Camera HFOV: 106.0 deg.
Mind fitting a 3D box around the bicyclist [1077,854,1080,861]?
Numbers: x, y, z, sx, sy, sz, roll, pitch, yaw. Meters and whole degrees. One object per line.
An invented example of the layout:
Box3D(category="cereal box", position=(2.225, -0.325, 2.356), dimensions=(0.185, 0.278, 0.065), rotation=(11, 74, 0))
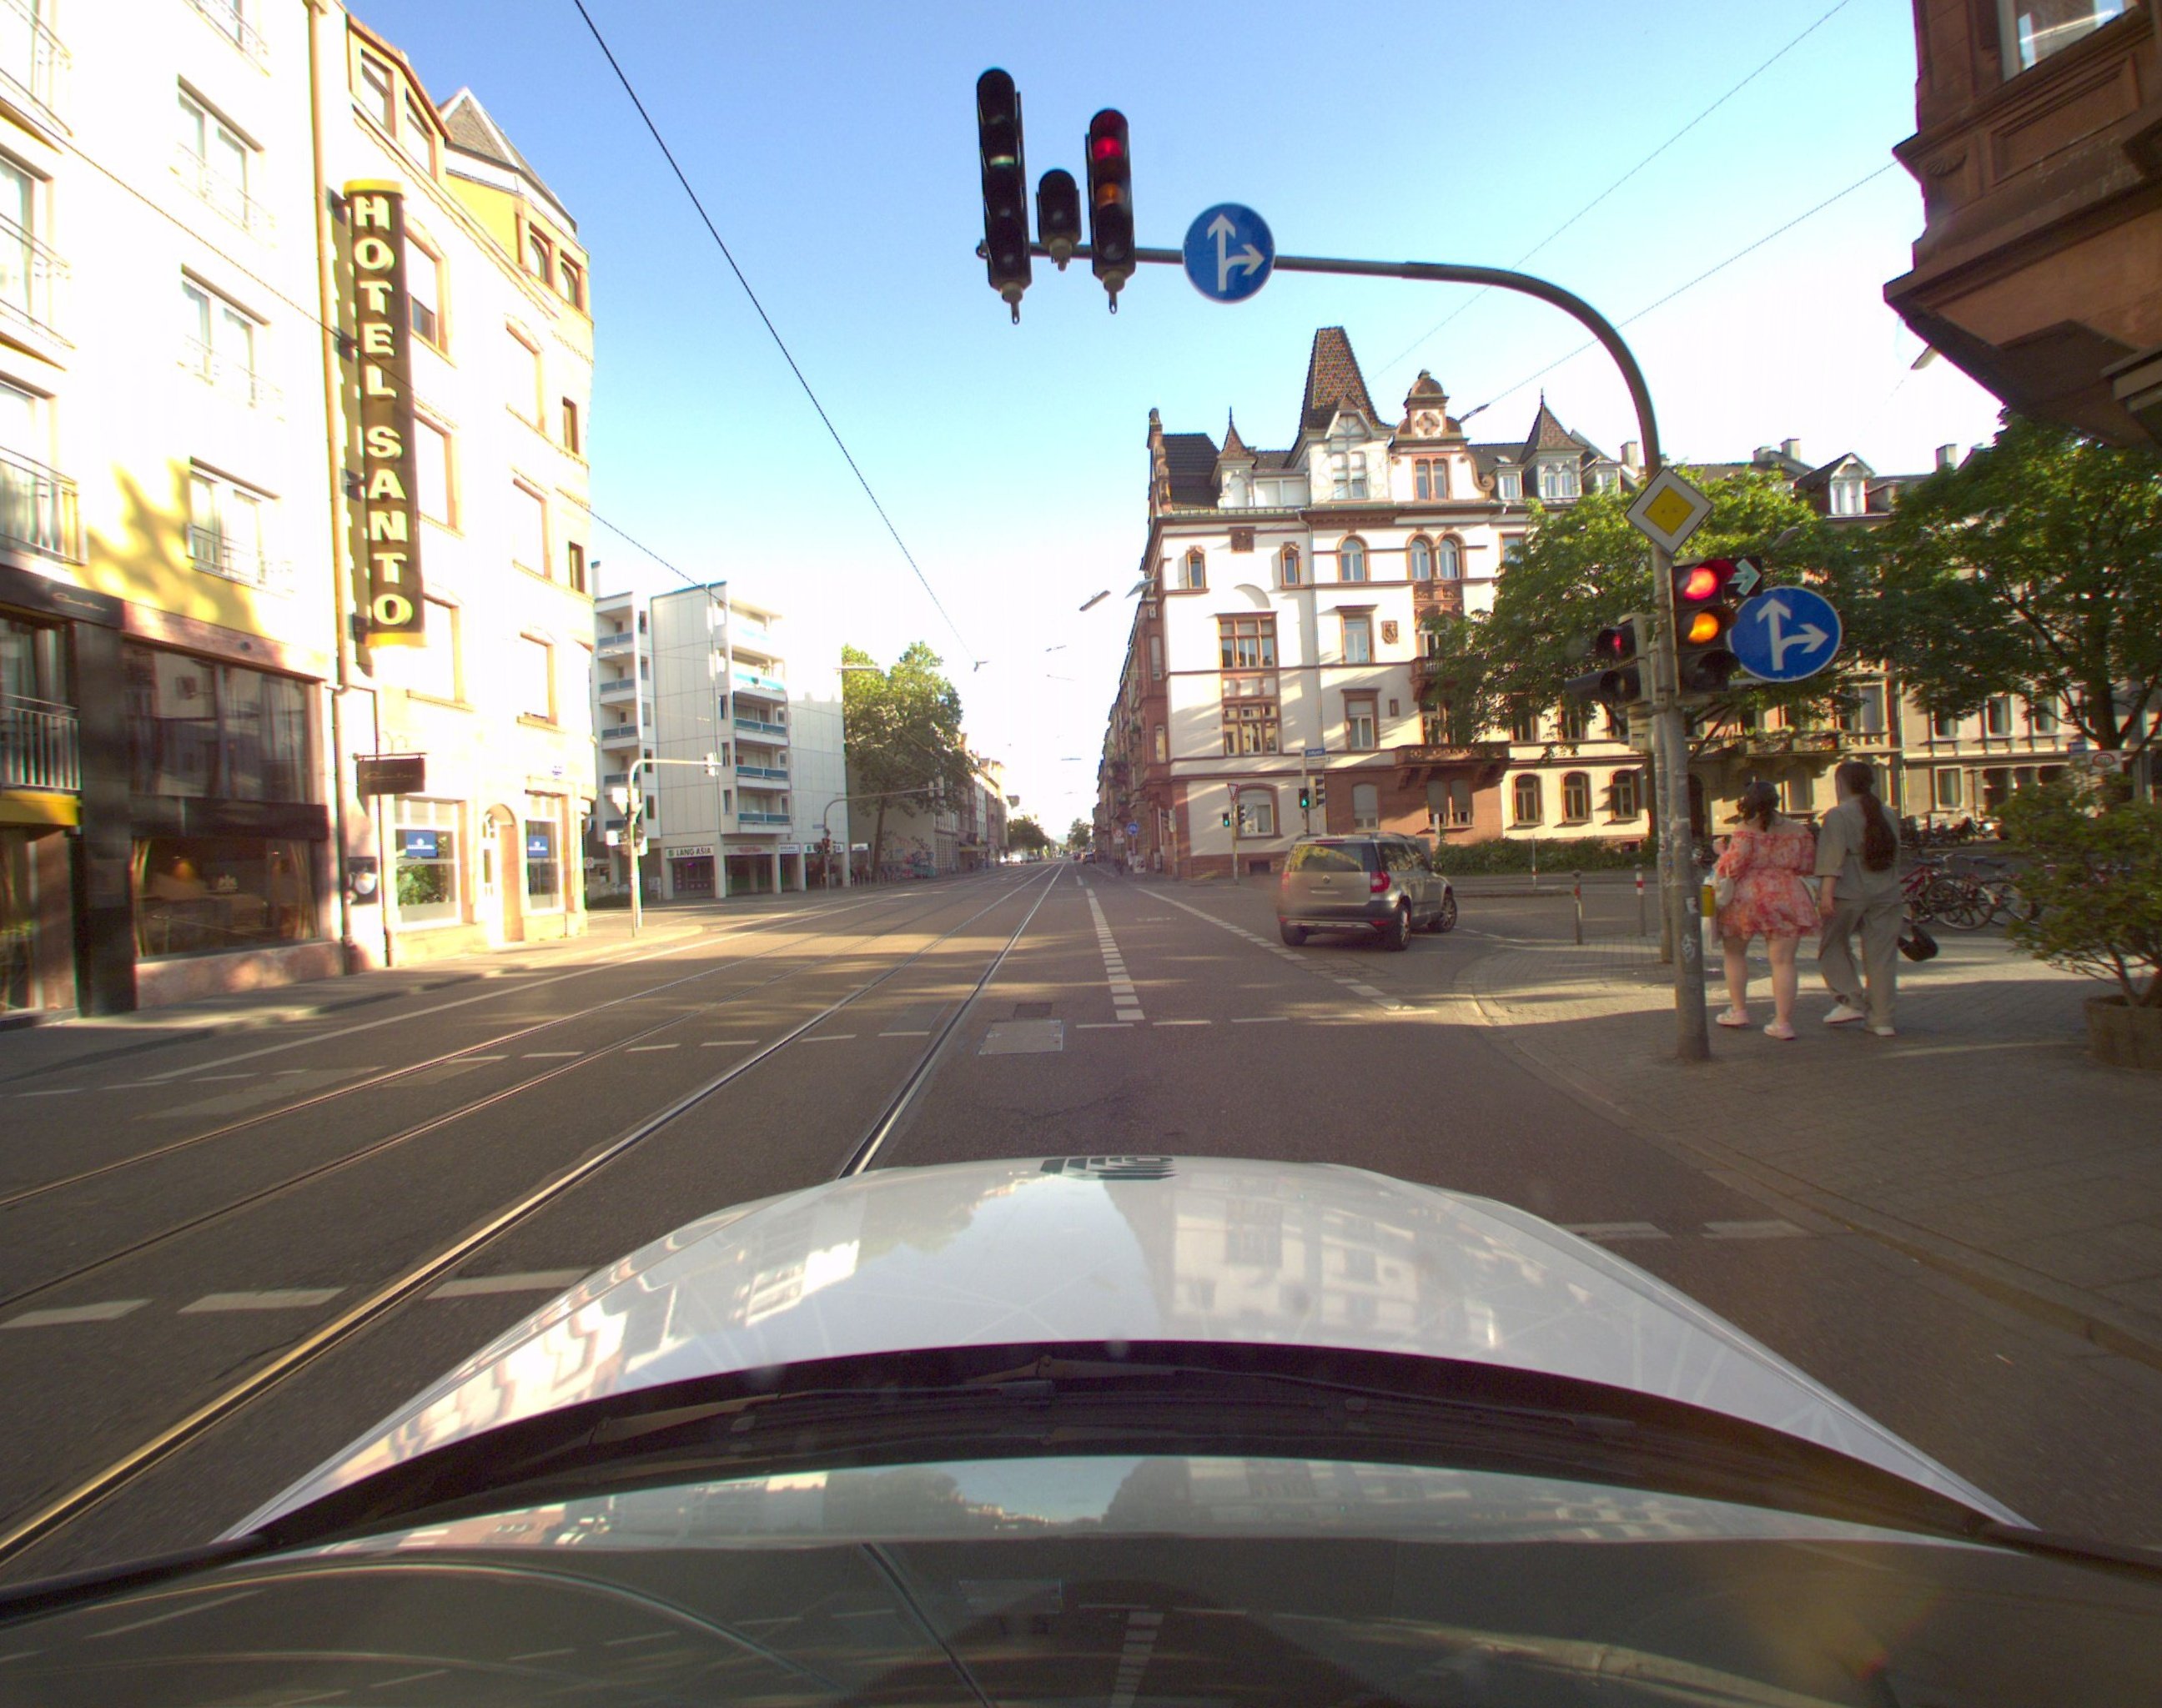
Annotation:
Box3D(category="bicyclist", position=(-0.663, 0.945, 200.205), dimensions=(0.573, 1.678, 0.795), rotation=(-3, 0, 0))

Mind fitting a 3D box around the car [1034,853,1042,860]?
Box3D(category="car", position=(-12.323, 0.651, 233.421), dimensions=(1.988, 2.013, 3.998), rotation=(-3, 0, -1))

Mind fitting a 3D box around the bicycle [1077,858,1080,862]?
Box3D(category="bicycle", position=(-0.629, 1.439, 200.219), dimensions=(0.573, 1.030, 1.895), rotation=(-3, 0, 1))

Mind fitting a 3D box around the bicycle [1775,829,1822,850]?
Box3D(category="bicycle", position=(31.716, -0.626, 36.016), dimensions=(0.490, 0.893, 1.798), rotation=(-3, 0, 2))

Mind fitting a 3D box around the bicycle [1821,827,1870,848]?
Box3D(category="bicycle", position=(33.669, -0.711, 35.889), dimensions=(0.490, 0.893, 1.798), rotation=(-3, 0, 2))

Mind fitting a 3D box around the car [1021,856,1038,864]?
Box3D(category="car", position=(-13.950, 1.642, 220.562), dimensions=(4.008, 2.013, 1.983), rotation=(-3, 0, -26))

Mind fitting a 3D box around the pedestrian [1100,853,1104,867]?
Box3D(category="pedestrian", position=(2.818, 0.786, 109.393), dimensions=(0.543, 1.780, 0.749), rotation=(-3, 0, 0))

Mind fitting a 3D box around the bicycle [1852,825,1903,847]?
Box3D(category="bicycle", position=(35.172, -0.773, 36.002), dimensions=(0.490, 0.893, 1.798), rotation=(-3, 0, 2))

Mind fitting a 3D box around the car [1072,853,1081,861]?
Box3D(category="car", position=(-1.071, 0.795, 202.026), dimensions=(1.988, 1.728, 3.998), rotation=(-2, -1, -1))

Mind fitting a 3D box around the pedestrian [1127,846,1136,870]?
Box3D(category="pedestrian", position=(3.766, 0.309, 61.070), dimensions=(0.543, 1.780, 0.504), rotation=(-3, 0, 0))

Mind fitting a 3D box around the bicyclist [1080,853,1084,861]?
Box3D(category="bicyclist", position=(0.192, 0.571, 160.703), dimensions=(0.573, 1.554, 0.595), rotation=(-3, 0, 0))

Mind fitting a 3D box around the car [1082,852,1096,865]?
Box3D(category="car", position=(1.247, 0.655, 121.696), dimensions=(1.943, 1.684, 4.000), rotation=(-3, 0, 0))

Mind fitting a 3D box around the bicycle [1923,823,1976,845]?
Box3D(category="bicycle", position=(38.658, -0.872, 36.276), dimensions=(0.490, 0.893, 1.798), rotation=(-3, 0, 2))

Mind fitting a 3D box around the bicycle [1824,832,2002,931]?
Box3D(category="bicycle", position=(11.371, 0.366, 11.236), dimensions=(0.502, 1.223, 1.922), rotation=(-3, -2, 4))

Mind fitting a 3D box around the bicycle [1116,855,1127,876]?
Box3D(category="bicycle", position=(2.588, 0.722, 52.375), dimensions=(0.651, 1.323, 2.177), rotation=(-3, 0, 2))

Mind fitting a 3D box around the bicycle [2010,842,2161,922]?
Box3D(category="bicycle", position=(13.967, 0.368, 11.096), dimensions=(0.447, 1.000, 1.922), rotation=(-3, -2, 4))

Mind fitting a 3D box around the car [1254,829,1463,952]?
Box3D(category="car", position=(4.523, 0.480, 12.884), dimensions=(1.974, 1.618, 4.025), rotation=(0, 0, 37))

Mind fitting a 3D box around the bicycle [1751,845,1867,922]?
Box3D(category="bicycle", position=(10.676, 0.425, 11.987), dimensions=(0.773, 1.045, 1.065), rotation=(-3, -2, 9))

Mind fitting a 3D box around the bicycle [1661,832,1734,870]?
Box3D(category="bicycle", position=(20.202, -0.090, 26.732), dimensions=(1.840, 1.161, 0.563), rotation=(-3, 1, 37))

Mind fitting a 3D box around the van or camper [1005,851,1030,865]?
Box3D(category="van or camper", position=(-13.386, 0.843, 171.626), dimensions=(4.666, 2.563, 1.980), rotation=(-2, -1, -32))

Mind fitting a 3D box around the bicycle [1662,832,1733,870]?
Box3D(category="bicycle", position=(20.572, -0.101, 27.212), dimensions=(1.840, 1.161, 0.563), rotation=(-3, 1, 37))

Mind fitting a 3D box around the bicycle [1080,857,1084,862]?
Box3D(category="bicycle", position=(0.220, 1.069, 160.705), dimensions=(0.573, 1.030, 1.895), rotation=(-3, 0, 1))

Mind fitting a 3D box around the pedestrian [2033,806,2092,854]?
Box3D(category="pedestrian", position=(31.962, -0.782, 26.531), dimensions=(0.903, 1.428, 0.770), rotation=(-7, -2, 33))

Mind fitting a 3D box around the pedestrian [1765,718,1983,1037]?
Box3D(category="pedestrian", position=(5.115, 0.153, 5.313), dimensions=(0.684, 1.908, 0.674), rotation=(-7, 0, 25))

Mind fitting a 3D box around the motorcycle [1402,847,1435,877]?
Box3D(category="motorcycle", position=(13.222, 0.294, 31.927), dimensions=(0.714, 1.020, 2.294), rotation=(-3, 2, 11))

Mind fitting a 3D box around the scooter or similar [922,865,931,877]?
Box3D(category="scooter or similar", position=(-13.742, 1.525, 72.571), dimensions=(0.515, 1.057, 1.477), rotation=(-3, 0, -3))

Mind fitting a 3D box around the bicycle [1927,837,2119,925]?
Box3D(category="bicycle", position=(12.917, 0.364, 11.266), dimensions=(0.447, 1.099, 1.922), rotation=(-3, -2, 4))

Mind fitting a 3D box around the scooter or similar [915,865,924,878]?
Box3D(category="scooter or similar", position=(-14.395, 1.559, 72.521), dimensions=(0.515, 1.045, 1.477), rotation=(-3, 0, -3))

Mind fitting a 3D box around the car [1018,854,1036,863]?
Box3D(category="car", position=(-13.704, 1.234, 206.799), dimensions=(4.008, 2.013, 1.983), rotation=(-3, 0, -26))

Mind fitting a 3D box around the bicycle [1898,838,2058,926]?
Box3D(category="bicycle", position=(12.407, 0.380, 11.342), dimensions=(0.447, 1.111, 1.612), rotation=(-3, -2, 4))

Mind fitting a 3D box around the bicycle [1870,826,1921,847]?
Box3D(category="bicycle", position=(36.126, -0.763, 36.161), dimensions=(0.490, 0.893, 1.798), rotation=(-3, 0, 2))

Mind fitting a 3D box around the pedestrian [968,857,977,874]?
Box3D(category="pedestrian", position=(-11.535, 1.208, 86.633), dimensions=(0.699, 1.728, 0.647), rotation=(-3, 0, -1))

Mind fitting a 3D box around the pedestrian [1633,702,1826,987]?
Box3D(category="pedestrian", position=(4.459, -0.053, 5.680), dimensions=(0.797, 1.799, 0.766), rotation=(-7, 1, 31))

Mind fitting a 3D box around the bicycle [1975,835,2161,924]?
Box3D(category="bicycle", position=(13.498, 0.338, 11.132), dimensions=(0.447, 1.099, 1.922), rotation=(-3, -2, 4))

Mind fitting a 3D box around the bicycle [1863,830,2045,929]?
Box3D(category="bicycle", position=(11.886, 0.344, 11.191), dimensions=(0.447, 1.223, 1.922), rotation=(-3, -2, 4))
